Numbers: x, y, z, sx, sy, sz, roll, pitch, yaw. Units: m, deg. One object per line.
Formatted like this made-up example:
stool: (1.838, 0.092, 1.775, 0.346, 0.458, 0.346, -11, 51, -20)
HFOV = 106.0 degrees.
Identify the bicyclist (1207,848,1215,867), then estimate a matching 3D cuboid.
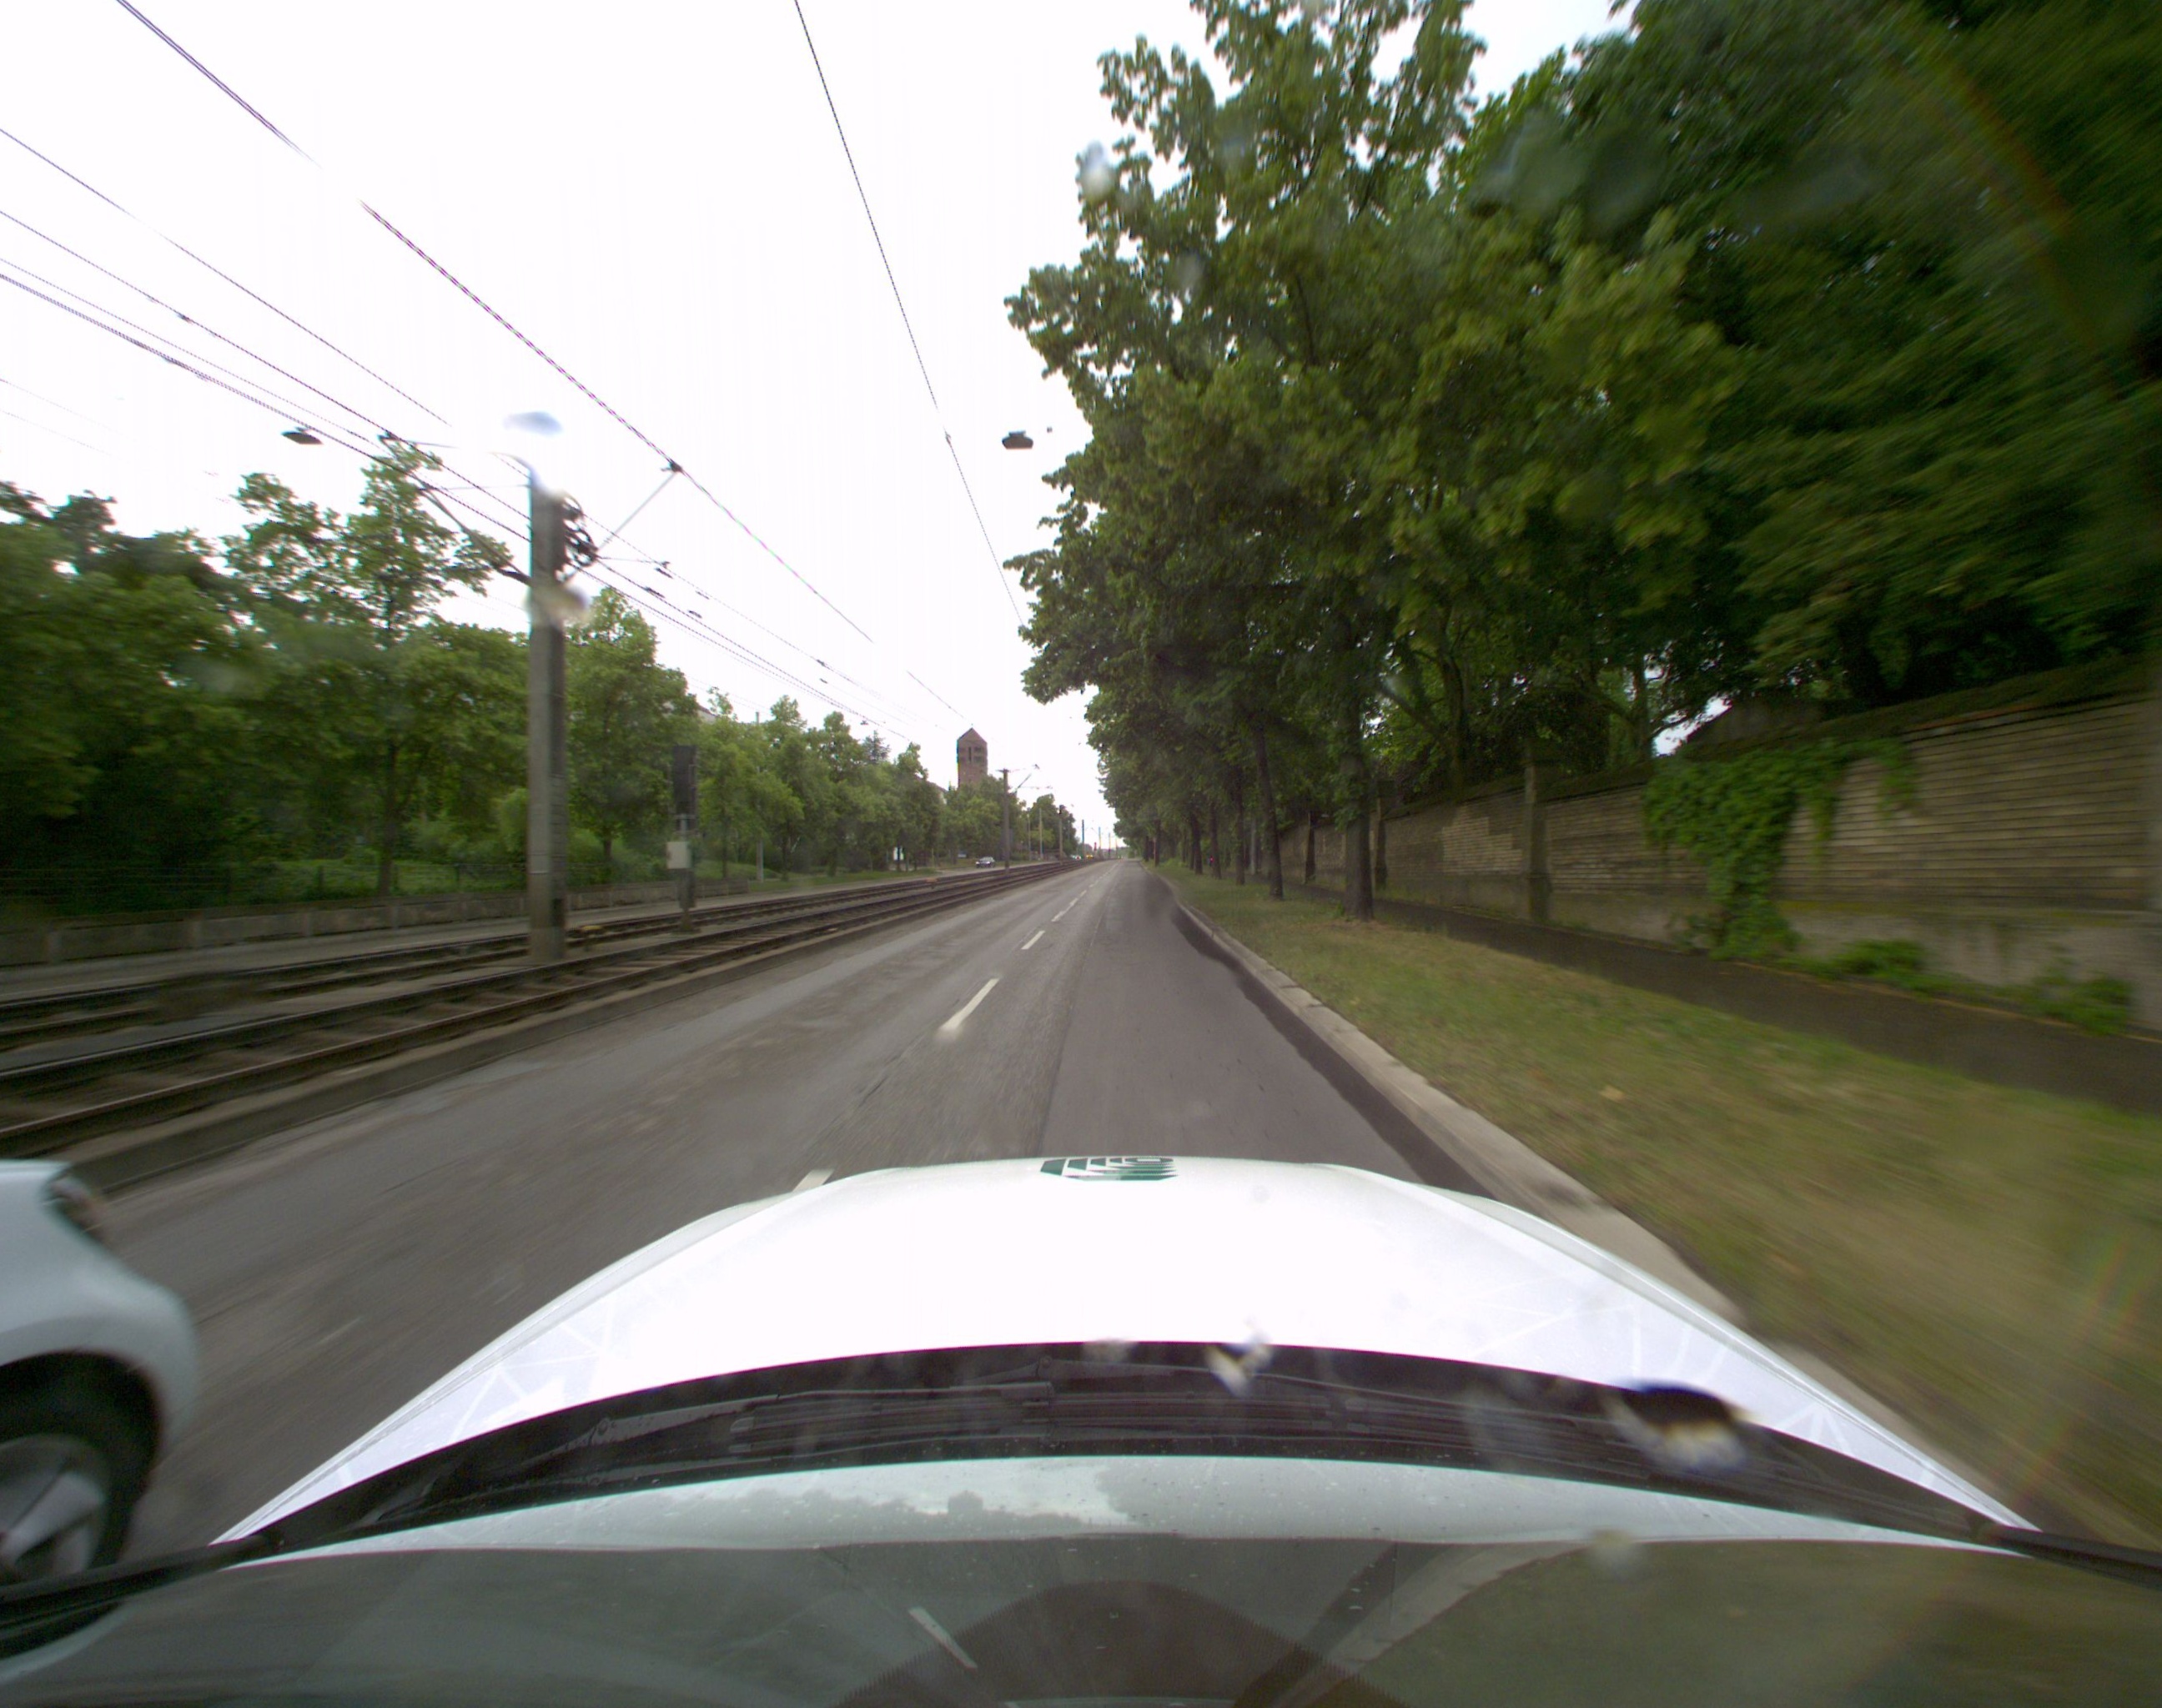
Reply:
bicyclist: (9.606, 0.276, 60.036, 0.532, 1.389, 0.667, -2, 0, 6)

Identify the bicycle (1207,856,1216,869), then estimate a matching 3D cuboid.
bicycle: (9.572, 0.608, 59.850, 0.540, 0.948, 2.554, -2, 0, 7)

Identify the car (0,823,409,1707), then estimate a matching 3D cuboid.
car: (-2.720, 0.734, 0.329, 1.669, 1.531, 3.724, -1, 0, 2)

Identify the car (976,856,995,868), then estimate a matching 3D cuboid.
car: (-12.907, 1.020, 109.977, 1.787, 1.530, 4.624, -1, 0, 2)
